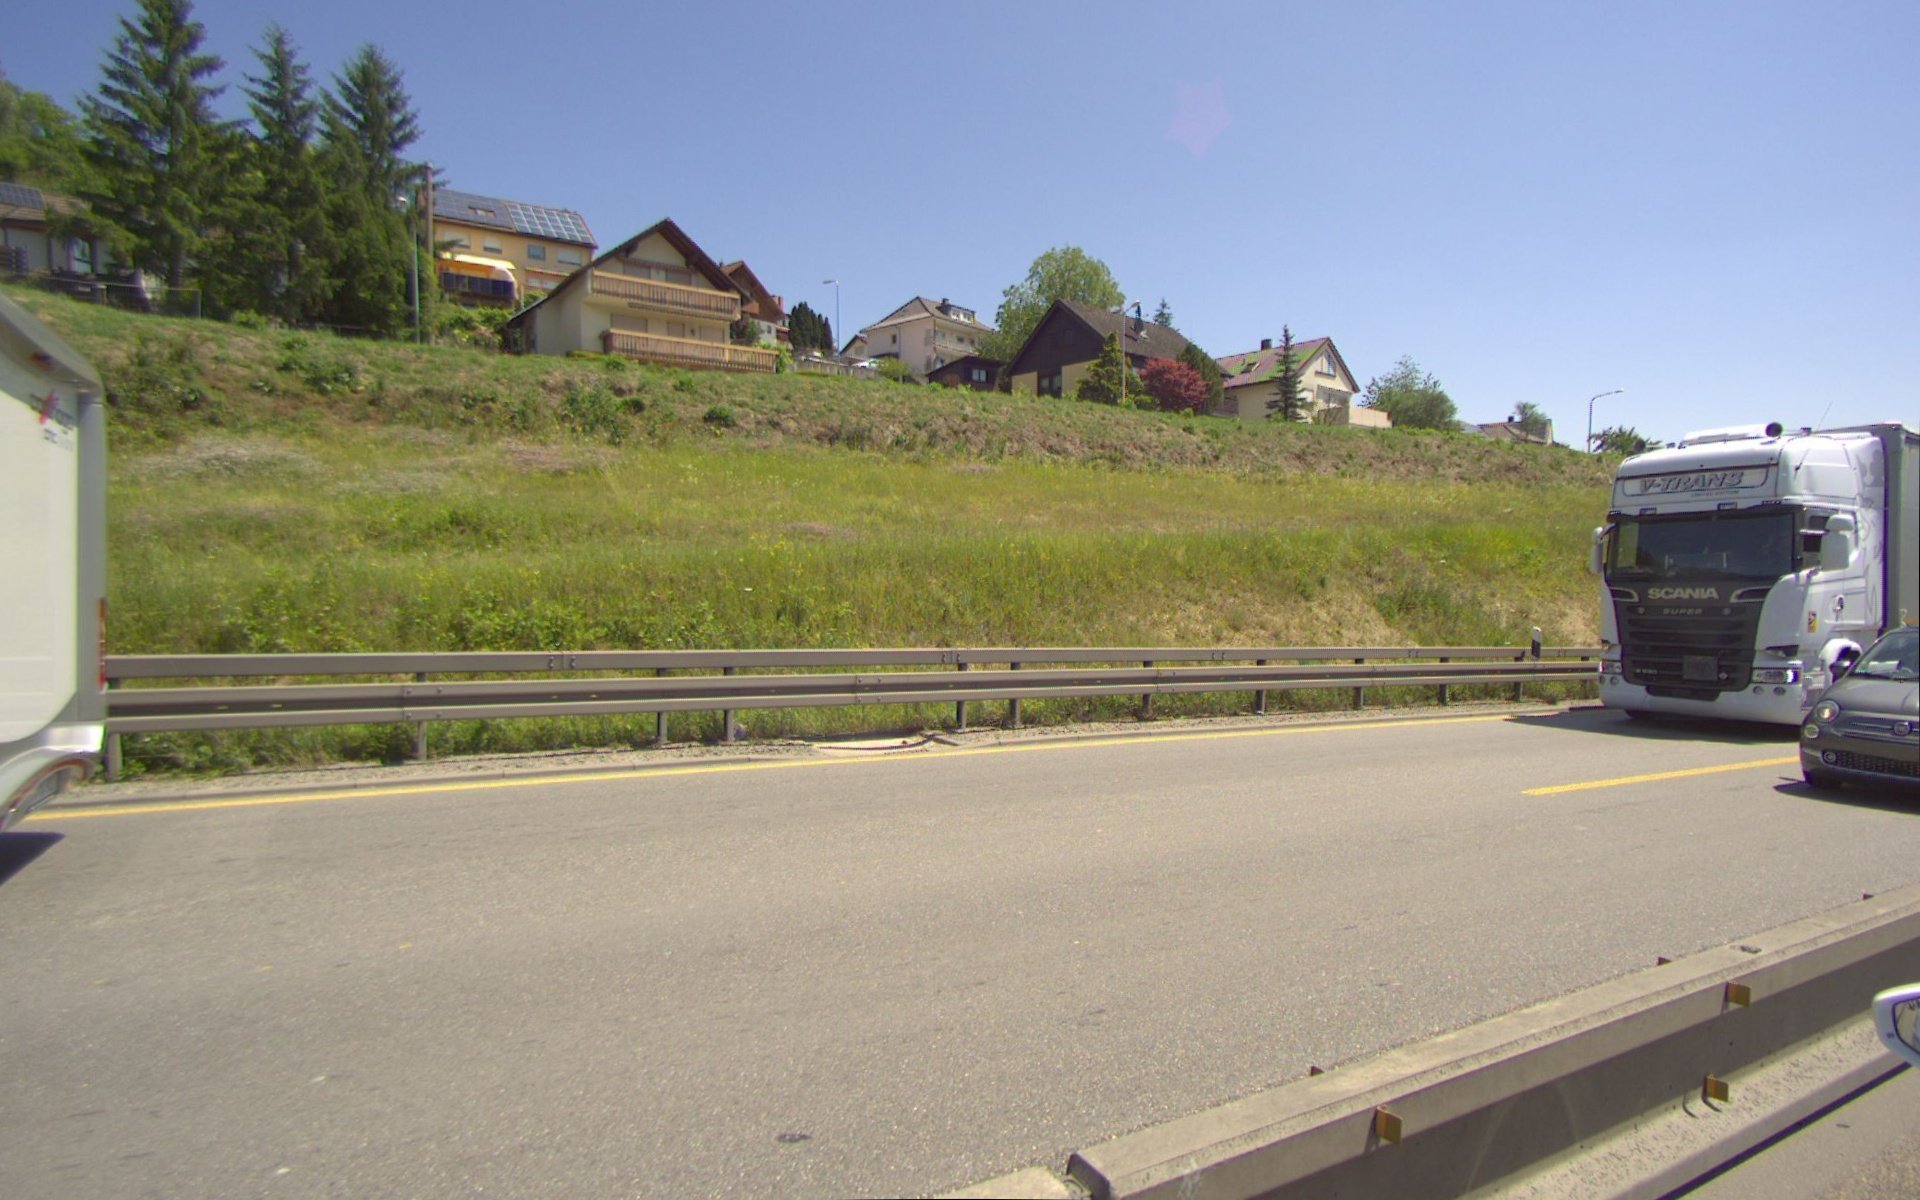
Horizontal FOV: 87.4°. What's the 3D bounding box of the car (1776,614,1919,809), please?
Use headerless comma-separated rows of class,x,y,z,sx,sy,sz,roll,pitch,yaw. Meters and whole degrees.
car,8.881,0.918,8.805,3.341,1.499,1.620,1,0,-31

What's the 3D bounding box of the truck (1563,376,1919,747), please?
truck,11.231,-0.422,14.154,4.622,4.344,2.760,1,0,-31

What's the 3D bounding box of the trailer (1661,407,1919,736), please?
trailer,17.624,-0.244,18.017,13.873,4.344,2.796,1,0,-31

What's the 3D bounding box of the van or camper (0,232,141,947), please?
van or camper,-7.508,-0.114,3.064,7.430,2.814,2.323,1,0,-31
